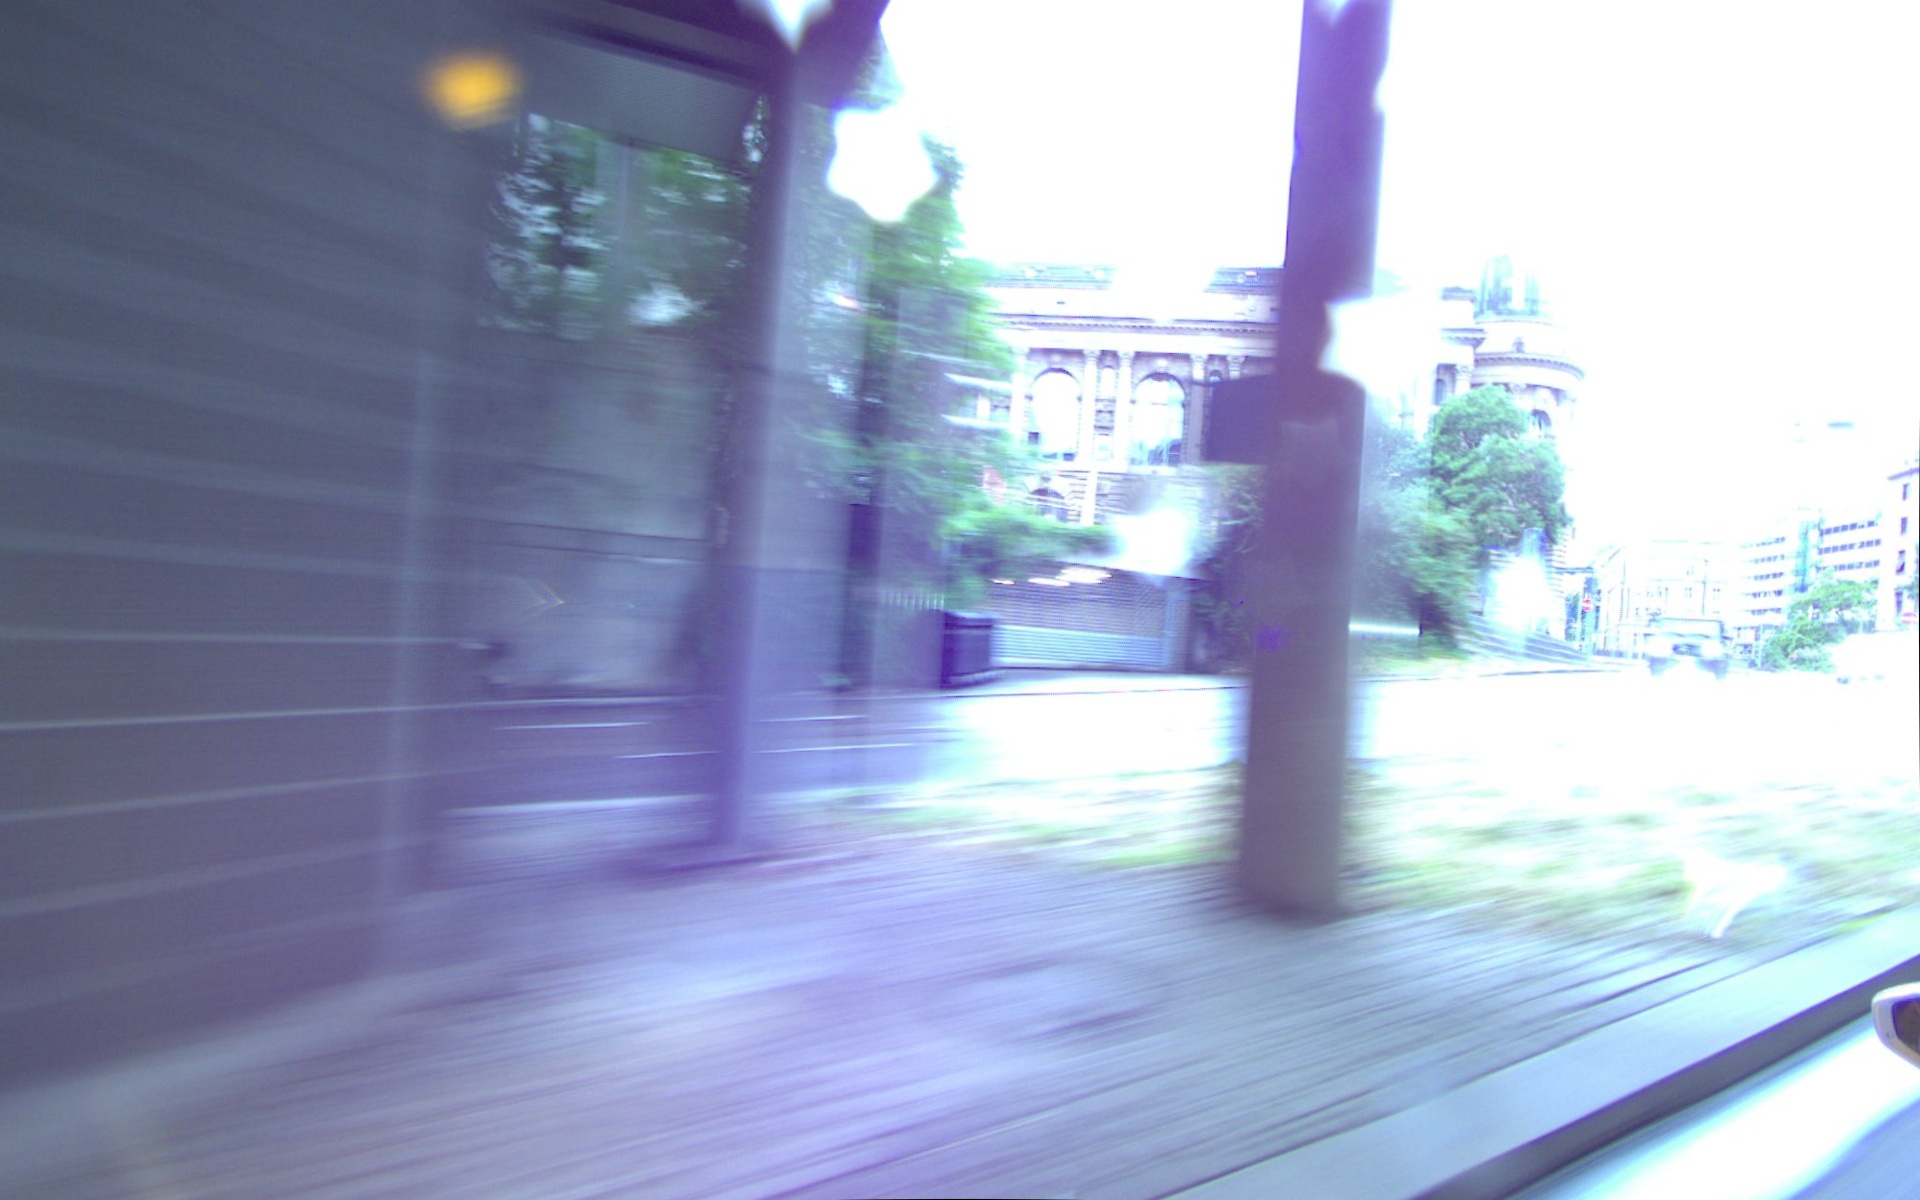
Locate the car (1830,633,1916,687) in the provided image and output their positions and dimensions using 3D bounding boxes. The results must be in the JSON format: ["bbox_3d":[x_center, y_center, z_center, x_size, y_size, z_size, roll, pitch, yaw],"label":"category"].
[{"bbox_3d":[29.787,1.905,32.879,1.823,1.609,4.370,0,-1,39],"label":"car"}]

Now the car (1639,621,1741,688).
[{"bbox_3d":[22.886,1.657,31.430,4.611,1.947,1.819,2,-1,-44],"label":"car"}]

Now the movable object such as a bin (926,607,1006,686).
[{"bbox_3d":[0.142,0.932,20.370,1.270,1.469,1.208,3,-1,17],"label":"movable object such as a bin"}]

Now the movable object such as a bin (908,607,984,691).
[{"bbox_3d":[-0.241,0.908,18.955,1.144,1.469,1.341,3,-1,9],"label":"movable object such as a bin"}]
